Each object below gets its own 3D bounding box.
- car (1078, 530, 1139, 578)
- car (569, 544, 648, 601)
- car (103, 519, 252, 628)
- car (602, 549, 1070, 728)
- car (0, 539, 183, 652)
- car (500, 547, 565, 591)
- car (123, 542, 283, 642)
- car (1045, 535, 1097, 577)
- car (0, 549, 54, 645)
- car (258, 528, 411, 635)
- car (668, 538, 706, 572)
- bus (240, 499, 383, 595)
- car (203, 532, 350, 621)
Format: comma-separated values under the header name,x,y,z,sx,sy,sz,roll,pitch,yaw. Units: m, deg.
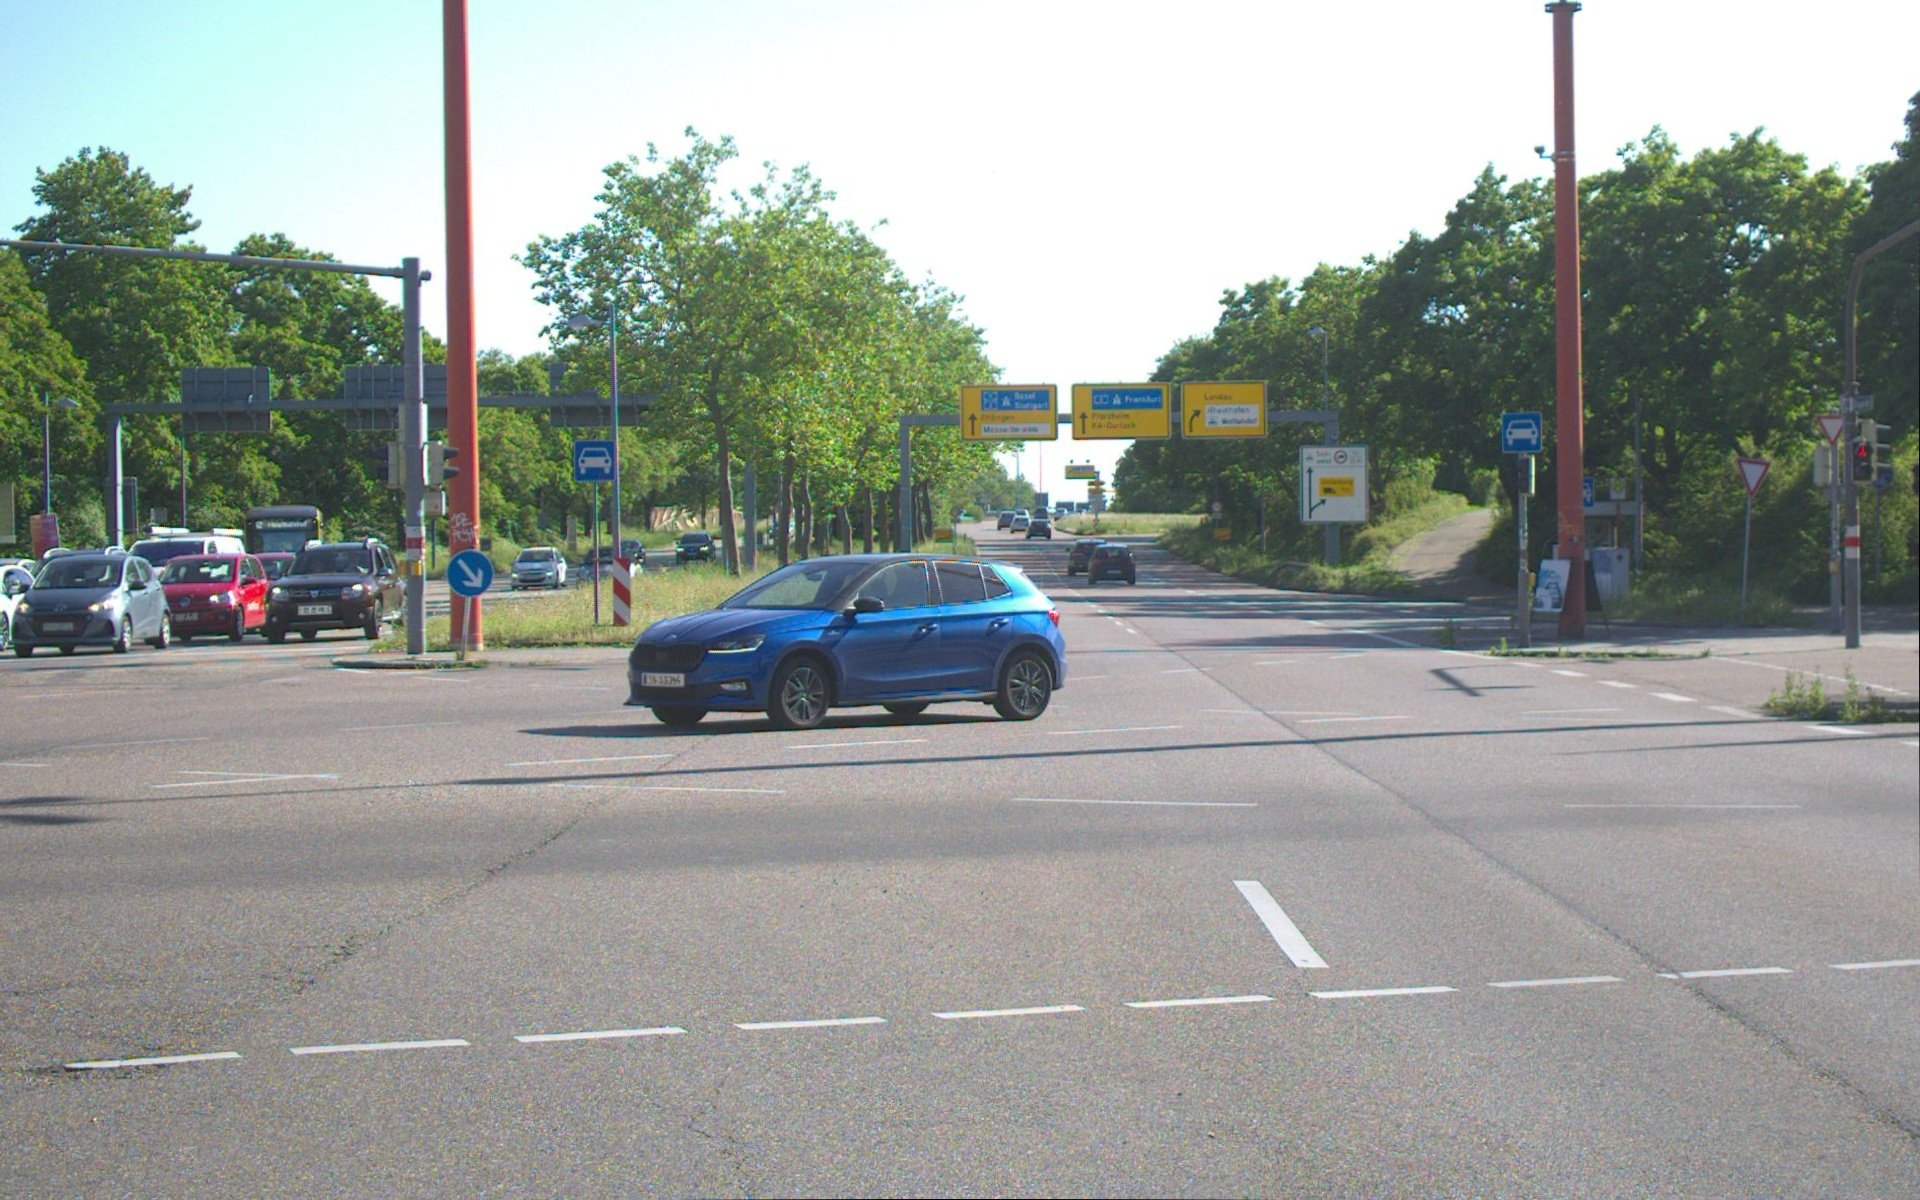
name,x,y,z,sx,sy,sz,roll,pitch,yaw
car,5.404,-1.682,125.869,1.993,1.727,4.000,1,1,-1
car,-10.145,-0.809,99.501,1.885,1.538,4.000,-2,1,-1
car,-16.064,-0.569,70.838,1.961,2.147,5.082,-1,1,-1
car,-0.999,0.301,29.206,3.898,1.415,1.578,0,1,-44
car,-13.215,-0.101,52.299,1.874,1.545,4.028,-2,1,-1
car,-15.714,-1.163,126.627,1.885,1.538,4.000,-2,1,-1
car,-12.863,-0.160,58.637,1.875,1.547,4.000,-4,1,-2
car,4.693,-1.868,145.804,1.993,1.727,4.000,1,1,-1
car,-16.528,-0.052,57.290,1.901,1.549,4.000,-2,1,-2
car,-10.209,-0.329,56.374,1.793,1.620,4.144,-2,1,-1
car,-14.903,-2.446,187.841,1.837,1.831,3.961,-1,1,-1
bus,-23.298,-1.881,124.200,2.646,3.250,12.536,1,1,1
car,-12.802,-0.455,64.633,1.901,1.624,4.000,0,1,1
